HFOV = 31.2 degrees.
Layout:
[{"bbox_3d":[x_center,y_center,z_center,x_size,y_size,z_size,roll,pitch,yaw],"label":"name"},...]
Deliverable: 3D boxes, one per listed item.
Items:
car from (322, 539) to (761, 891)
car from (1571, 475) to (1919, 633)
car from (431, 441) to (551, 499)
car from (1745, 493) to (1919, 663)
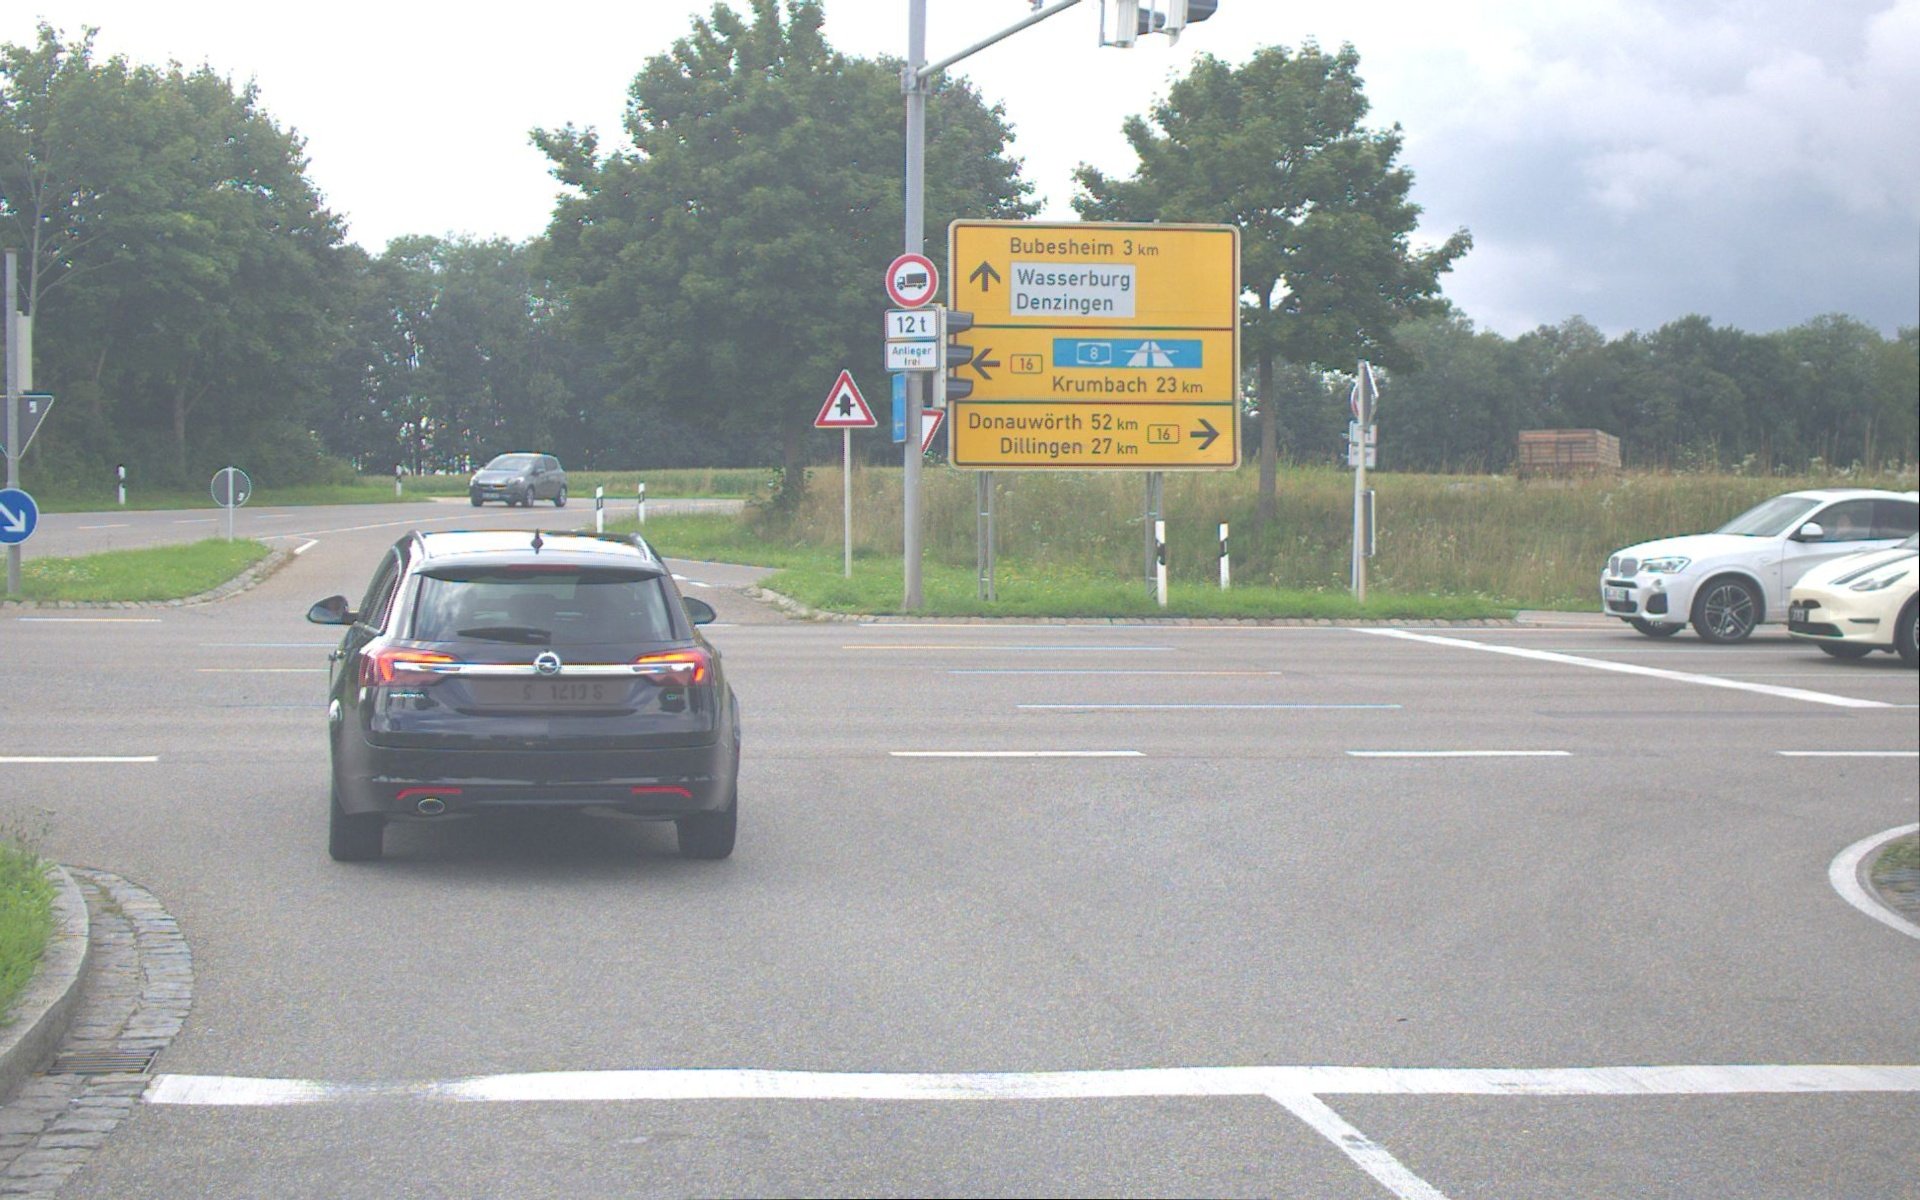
[{"bbox_3d":[-2.084,0.445,16.470,1.807,1.446,4.274,1,1,-9],"label":"car"},{"bbox_3d":[8.969,-0.488,36.984,4.259,1.623,2.001,0,1,-14],"label":"car"},{"bbox_3d":[-13.059,-3.615,95.969,1.995,1.530,3.998,1,2,13],"label":"car"},{"bbox_3d":[10.240,-0.208,33.257,4.731,1.559,2.001,0,1,-13],"label":"car"}]
